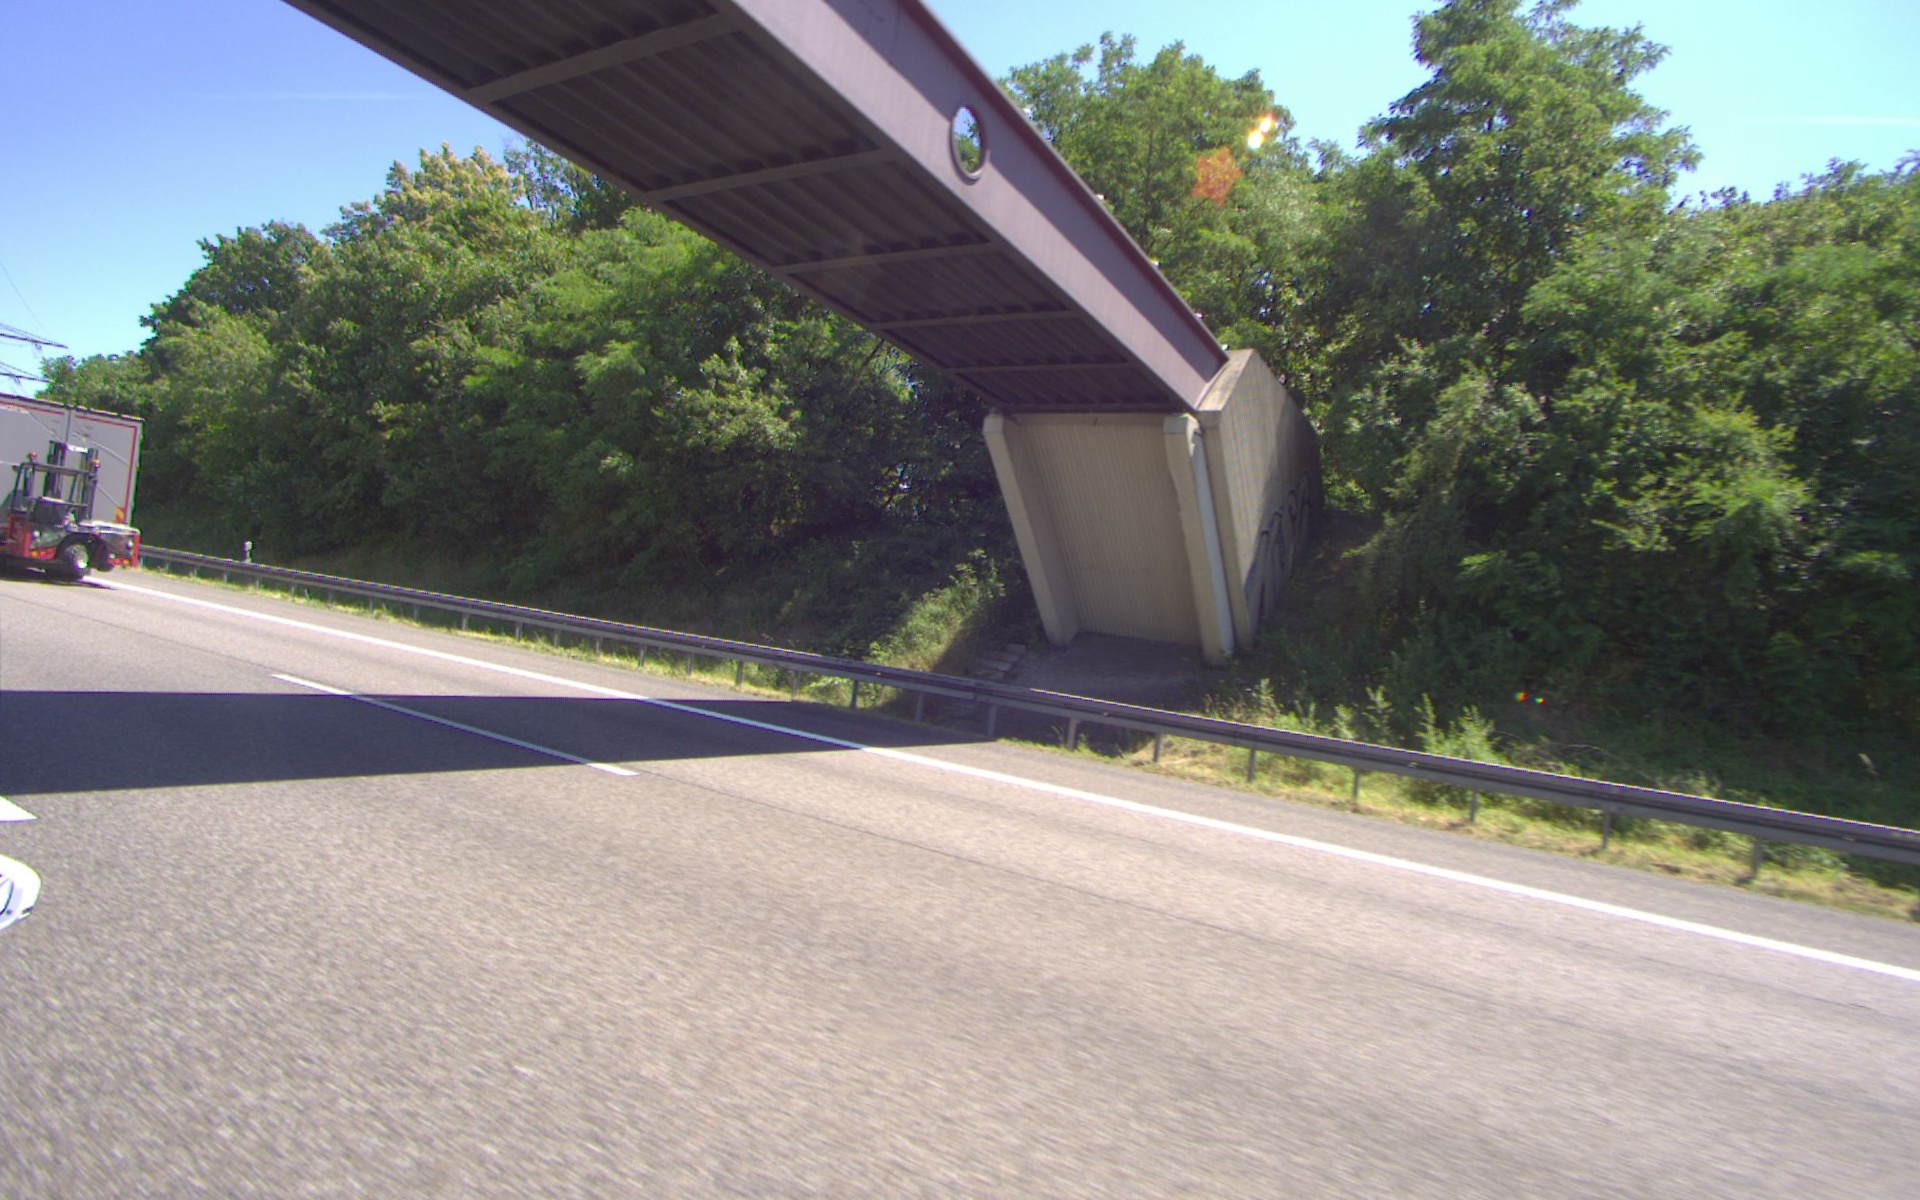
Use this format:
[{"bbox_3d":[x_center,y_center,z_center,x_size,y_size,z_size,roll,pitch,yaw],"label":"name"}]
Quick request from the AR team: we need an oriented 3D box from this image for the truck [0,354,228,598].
[{"bbox_3d":[-22.205,-2.881,23.638,11.458,4.293,3.579,6,-2,31],"label":"truck"}]
